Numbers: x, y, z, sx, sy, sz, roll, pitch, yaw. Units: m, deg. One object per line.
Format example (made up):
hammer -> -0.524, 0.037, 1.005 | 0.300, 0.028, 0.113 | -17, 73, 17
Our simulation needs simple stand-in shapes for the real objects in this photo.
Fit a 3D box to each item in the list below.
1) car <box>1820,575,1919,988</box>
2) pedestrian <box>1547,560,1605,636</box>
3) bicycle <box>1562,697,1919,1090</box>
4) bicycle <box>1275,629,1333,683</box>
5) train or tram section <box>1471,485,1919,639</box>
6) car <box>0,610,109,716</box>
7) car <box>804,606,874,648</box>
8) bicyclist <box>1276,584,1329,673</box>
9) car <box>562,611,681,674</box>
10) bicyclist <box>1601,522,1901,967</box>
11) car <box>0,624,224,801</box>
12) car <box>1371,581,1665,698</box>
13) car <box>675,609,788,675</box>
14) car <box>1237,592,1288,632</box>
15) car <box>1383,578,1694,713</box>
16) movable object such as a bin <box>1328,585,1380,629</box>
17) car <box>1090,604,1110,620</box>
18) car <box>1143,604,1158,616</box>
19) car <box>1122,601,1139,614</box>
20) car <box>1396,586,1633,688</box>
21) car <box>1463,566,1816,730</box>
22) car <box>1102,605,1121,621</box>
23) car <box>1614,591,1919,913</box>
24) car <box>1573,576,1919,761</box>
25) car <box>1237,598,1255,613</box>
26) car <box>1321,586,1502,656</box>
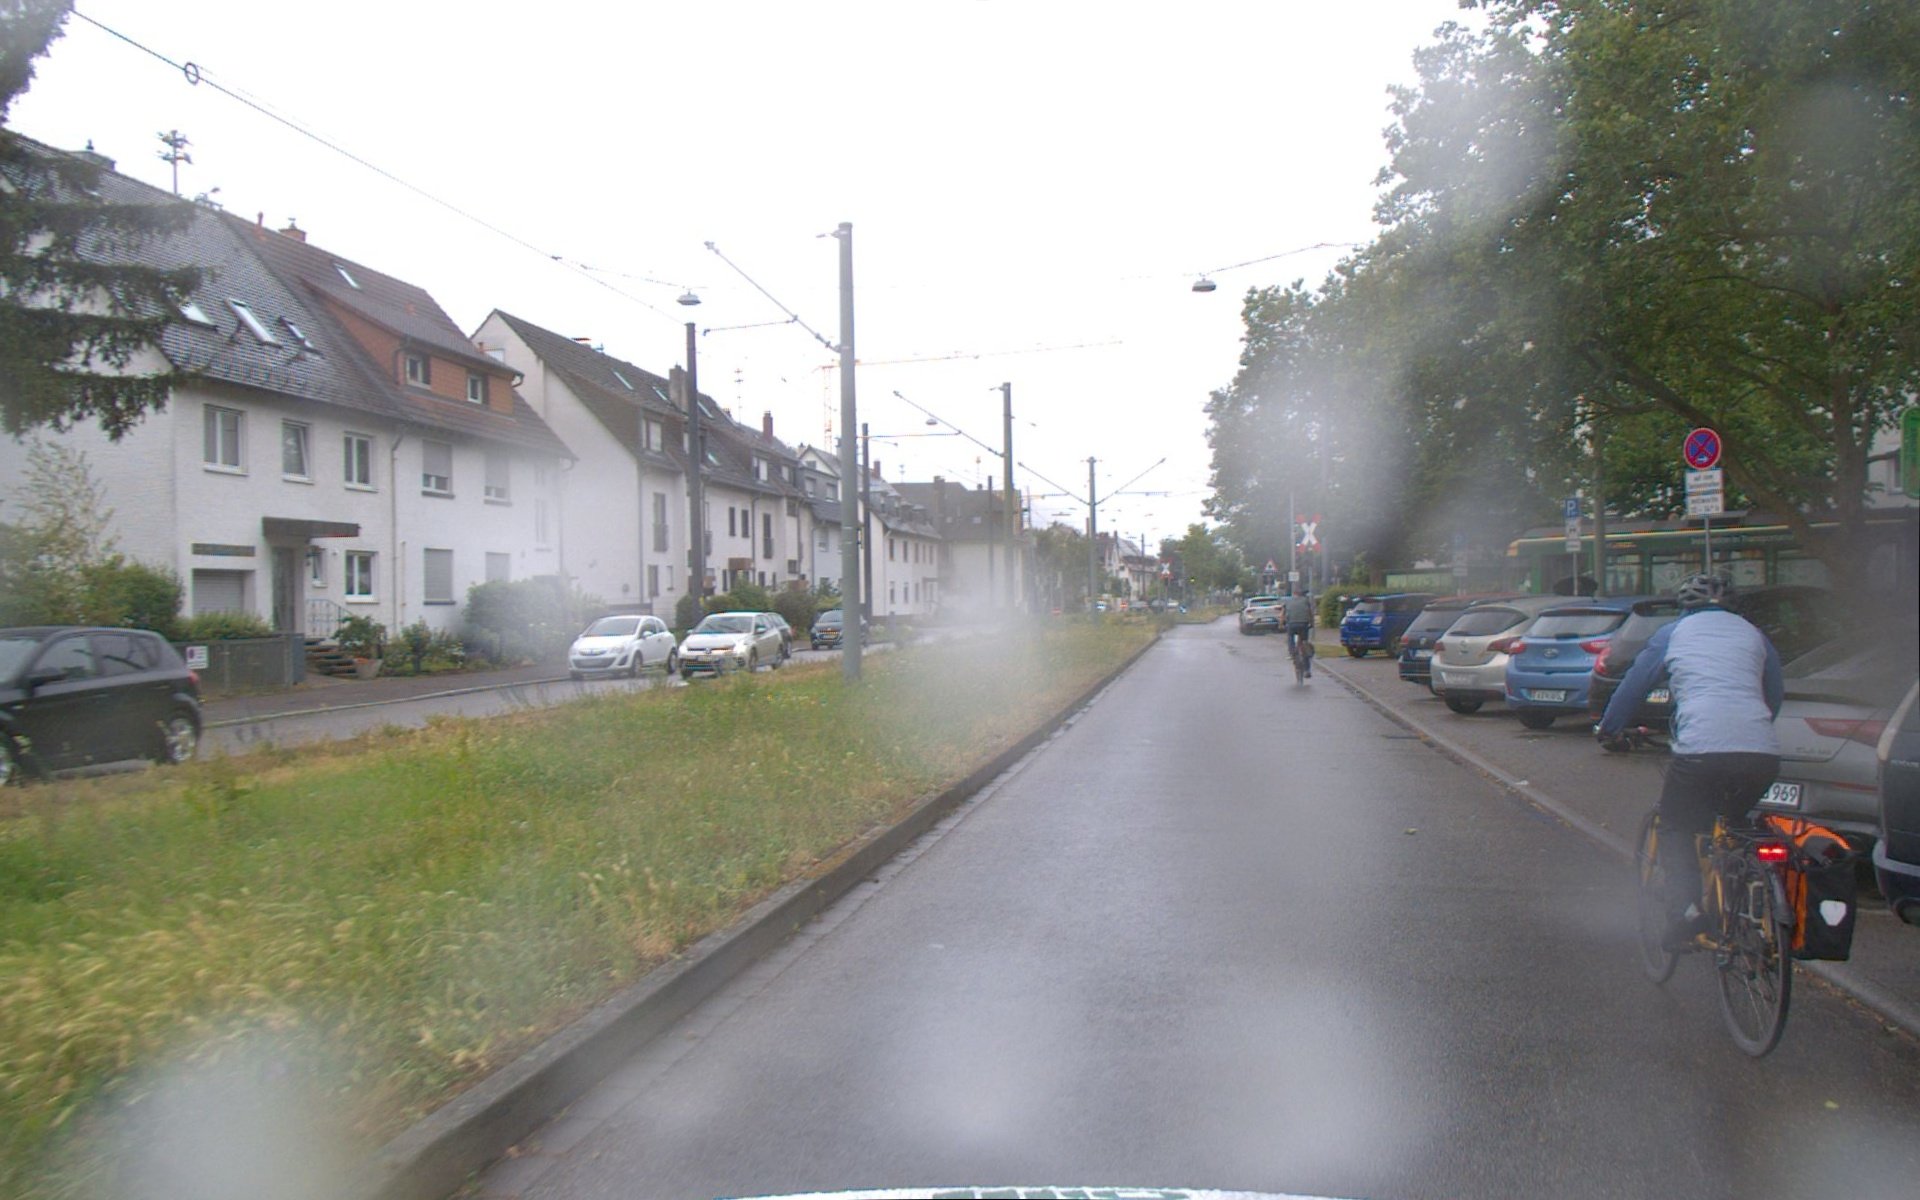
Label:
car -> 5.560, 0.616, 6.328 | 4.105, 1.502, 1.792 | -1, 0, -22
pedestrian -> 14.479, -0.044, 38.893 | 1.022, 1.744, 1.081 | -2, 0, 9
bicycle -> 2.890, 0.991, 6.218 | 0.736, 1.091, 1.928 | -1, 1, 7
bicycle -> 6.309, 1.012, 30.425 | 0.804, 0.928, 1.987 | -2, -1, 6
train or tram section -> 20.607, -0.800, 44.583 | 2.683, 3.653, 14.557 | 1, -1, -35
car -> -16.959, 1.108, 28.694 | 1.951, 1.592, 3.899 | -1, 3, 8
car -> -4.670, 1.086, 64.236 | 1.837, 1.530, 4.136 | -1, -2, 8
bicyclist -> 6.273, 0.516, 30.313 | 0.813, 1.585, 0.914 | -2, -1, 6
car -> -8.253, 1.072, 40.614 | 1.566, 1.449, 3.946 | -1, -2, 9
bicyclist -> 2.865, 0.491, 6.075 | 0.735, 1.511, 0.847 | -1, 1, 7
car -> -8.864, 1.021, 15.425 | 1.699, 1.512, 4.003 | -1, -2, 10
car -> 8.560, 0.577, 25.384 | 4.055, 1.506, 1.853 | -3, 0, -24
car -> -5.321, 1.004, 38.907 | 1.566, 1.449, 3.822 | -1, -2, 9
car -> 12.961, 0.519, 71.004 | 1.913, 1.580, 4.003 | -3, -1, 8
car -> 7.834, 0.592, 22.330 | 3.952, 1.580, 1.938 | -2, -2, -34
movable object such as a bin -> 16.174, 0.277, 67.871 | 1.524, 1.734, 1.494 | -2, 0, -15
car -> 15.887, 1.362, 187.518 | 1.951, 1.571, 4.003 | -1, -2, 10
car -> 28.077, 1.504, 243.629 | 1.951, 1.571, 4.003 | -1, -2, 10
car -> 22.490, 1.012, 218.253 | 1.951, 1.571, 4.003 | -1, -2, 10
car -> 9.486, 0.608, 28.334 | 3.532, 1.506, 1.629 | -3, 0, -18
car -> 8.005, 0.532, 19.416 | 3.949, 1.526, 1.804 | -4, 0, -32
car -> 17.713, 1.516, 193.308 | 1.951, 1.735, 4.003 | -1, -2, 10
car -> 6.192, 0.697, 9.537 | 4.469, 1.502, 1.793 | -1, 0, -21
car -> 7.990, 0.622, 16.286 | 3.465, 1.532, 1.739 | -3, -1, -27
car -> 32.519, 0.644, 187.916 | 1.951, 1.518, 4.003 | -1, -2, 9
car -> 11.061, 0.476, 40.546 | 3.933, 1.509, 1.986 | -2, 1, -23
